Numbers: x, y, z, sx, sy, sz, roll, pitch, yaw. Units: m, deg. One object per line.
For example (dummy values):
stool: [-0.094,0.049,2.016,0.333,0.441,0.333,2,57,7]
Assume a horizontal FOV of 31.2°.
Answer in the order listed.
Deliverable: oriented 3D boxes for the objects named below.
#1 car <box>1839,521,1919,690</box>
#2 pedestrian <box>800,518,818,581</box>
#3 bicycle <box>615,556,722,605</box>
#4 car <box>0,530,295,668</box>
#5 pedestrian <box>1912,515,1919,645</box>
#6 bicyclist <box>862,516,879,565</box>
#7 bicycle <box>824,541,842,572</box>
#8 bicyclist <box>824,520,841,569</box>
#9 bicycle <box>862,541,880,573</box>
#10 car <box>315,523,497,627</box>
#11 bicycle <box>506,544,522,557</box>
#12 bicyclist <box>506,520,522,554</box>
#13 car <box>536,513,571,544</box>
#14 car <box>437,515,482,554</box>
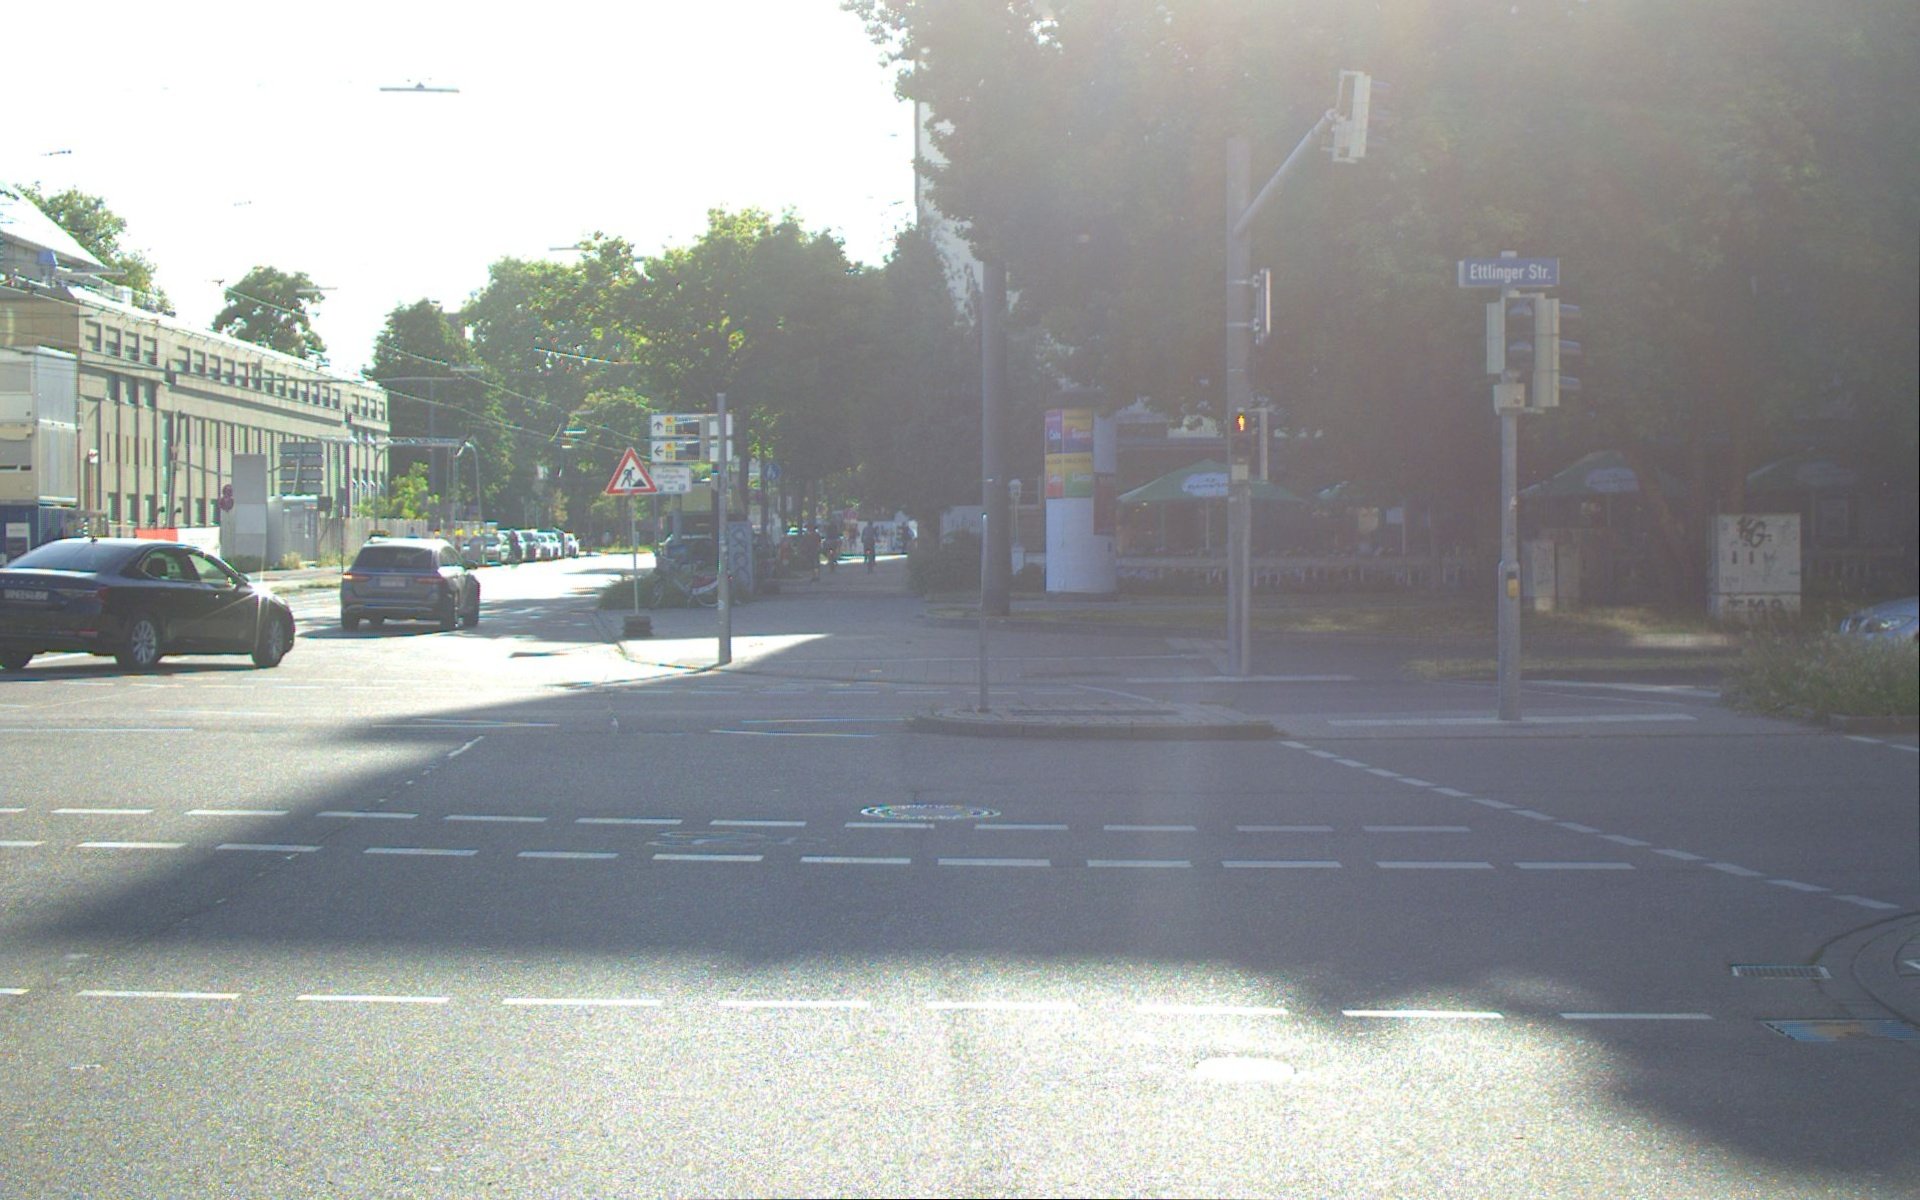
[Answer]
car: [10.758,0.021,33.410,3.993,1.605,1.650,-1,1,-1]
pedestrian: [-4.315,-1.437,98.248,0.463,1.807,0.503,-1,1,-5]
bicycle: [-5.726,-0.383,67.479,2.018,0.888,0.650,-2,0,27]
car: [-9.390,-0.044,38.570,1.662,1.450,4.427,1,1,21]
pedestrian: [12.580,-0.251,44.075,0.583,1.657,0.514,1,2,2]
bicyclist: [-3.086,-2.051,119.007,0.569,1.685,0.700,0,1,-1]
bicycle: [-4.390,-1.510,118.865,0.575,1.073,1.831,0,1,-1]
bicyclist: [-4.396,-1.924,118.846,0.569,1.685,0.700,0,1,-1]
bicycle: [-3.076,-1.493,118.988,0.575,1.073,1.831,0,1,-1]
car: [-9.059,-0.451,56.613,1.892,1.560,4.807,3,1,3]
bicycle: [-18.145,-2.001,139.923,0.501,0.513,1.258,1,1,-1]
bicyclist: [-18.151,-2.576,139.904,0.596,1.372,0.638,1,0,-2]
car: [-23.009,-4.030,194.689,1.692,1.712,4.248,1,1,-4]
car: [-22.770,-2.965,156.444,1.692,1.712,4.248,1,1,-4]
